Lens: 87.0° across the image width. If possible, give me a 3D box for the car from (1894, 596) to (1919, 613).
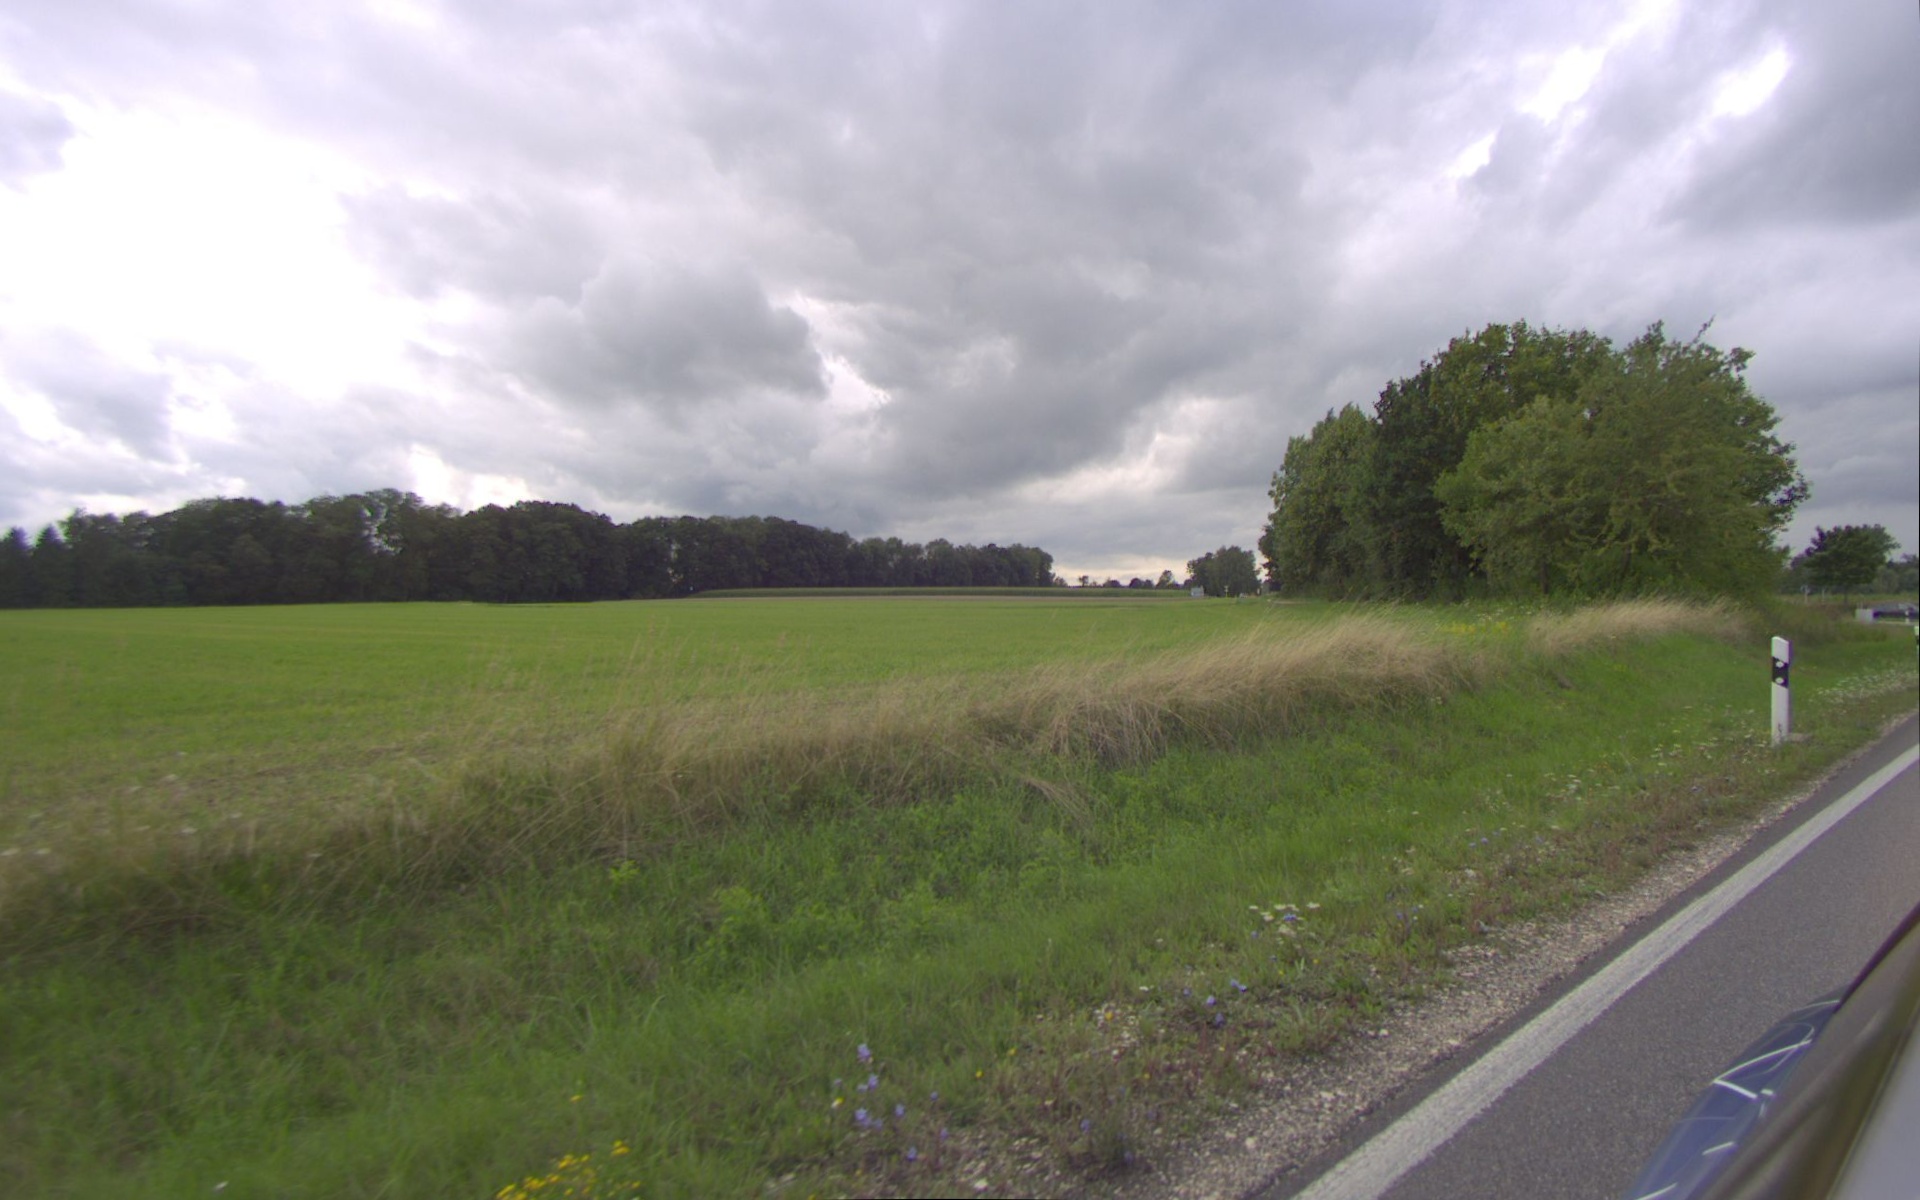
[{"bbox_3d":[73.014,0.360,75.718,1.830,1.237,4.349,0,0,-36],"label":"car"}]
